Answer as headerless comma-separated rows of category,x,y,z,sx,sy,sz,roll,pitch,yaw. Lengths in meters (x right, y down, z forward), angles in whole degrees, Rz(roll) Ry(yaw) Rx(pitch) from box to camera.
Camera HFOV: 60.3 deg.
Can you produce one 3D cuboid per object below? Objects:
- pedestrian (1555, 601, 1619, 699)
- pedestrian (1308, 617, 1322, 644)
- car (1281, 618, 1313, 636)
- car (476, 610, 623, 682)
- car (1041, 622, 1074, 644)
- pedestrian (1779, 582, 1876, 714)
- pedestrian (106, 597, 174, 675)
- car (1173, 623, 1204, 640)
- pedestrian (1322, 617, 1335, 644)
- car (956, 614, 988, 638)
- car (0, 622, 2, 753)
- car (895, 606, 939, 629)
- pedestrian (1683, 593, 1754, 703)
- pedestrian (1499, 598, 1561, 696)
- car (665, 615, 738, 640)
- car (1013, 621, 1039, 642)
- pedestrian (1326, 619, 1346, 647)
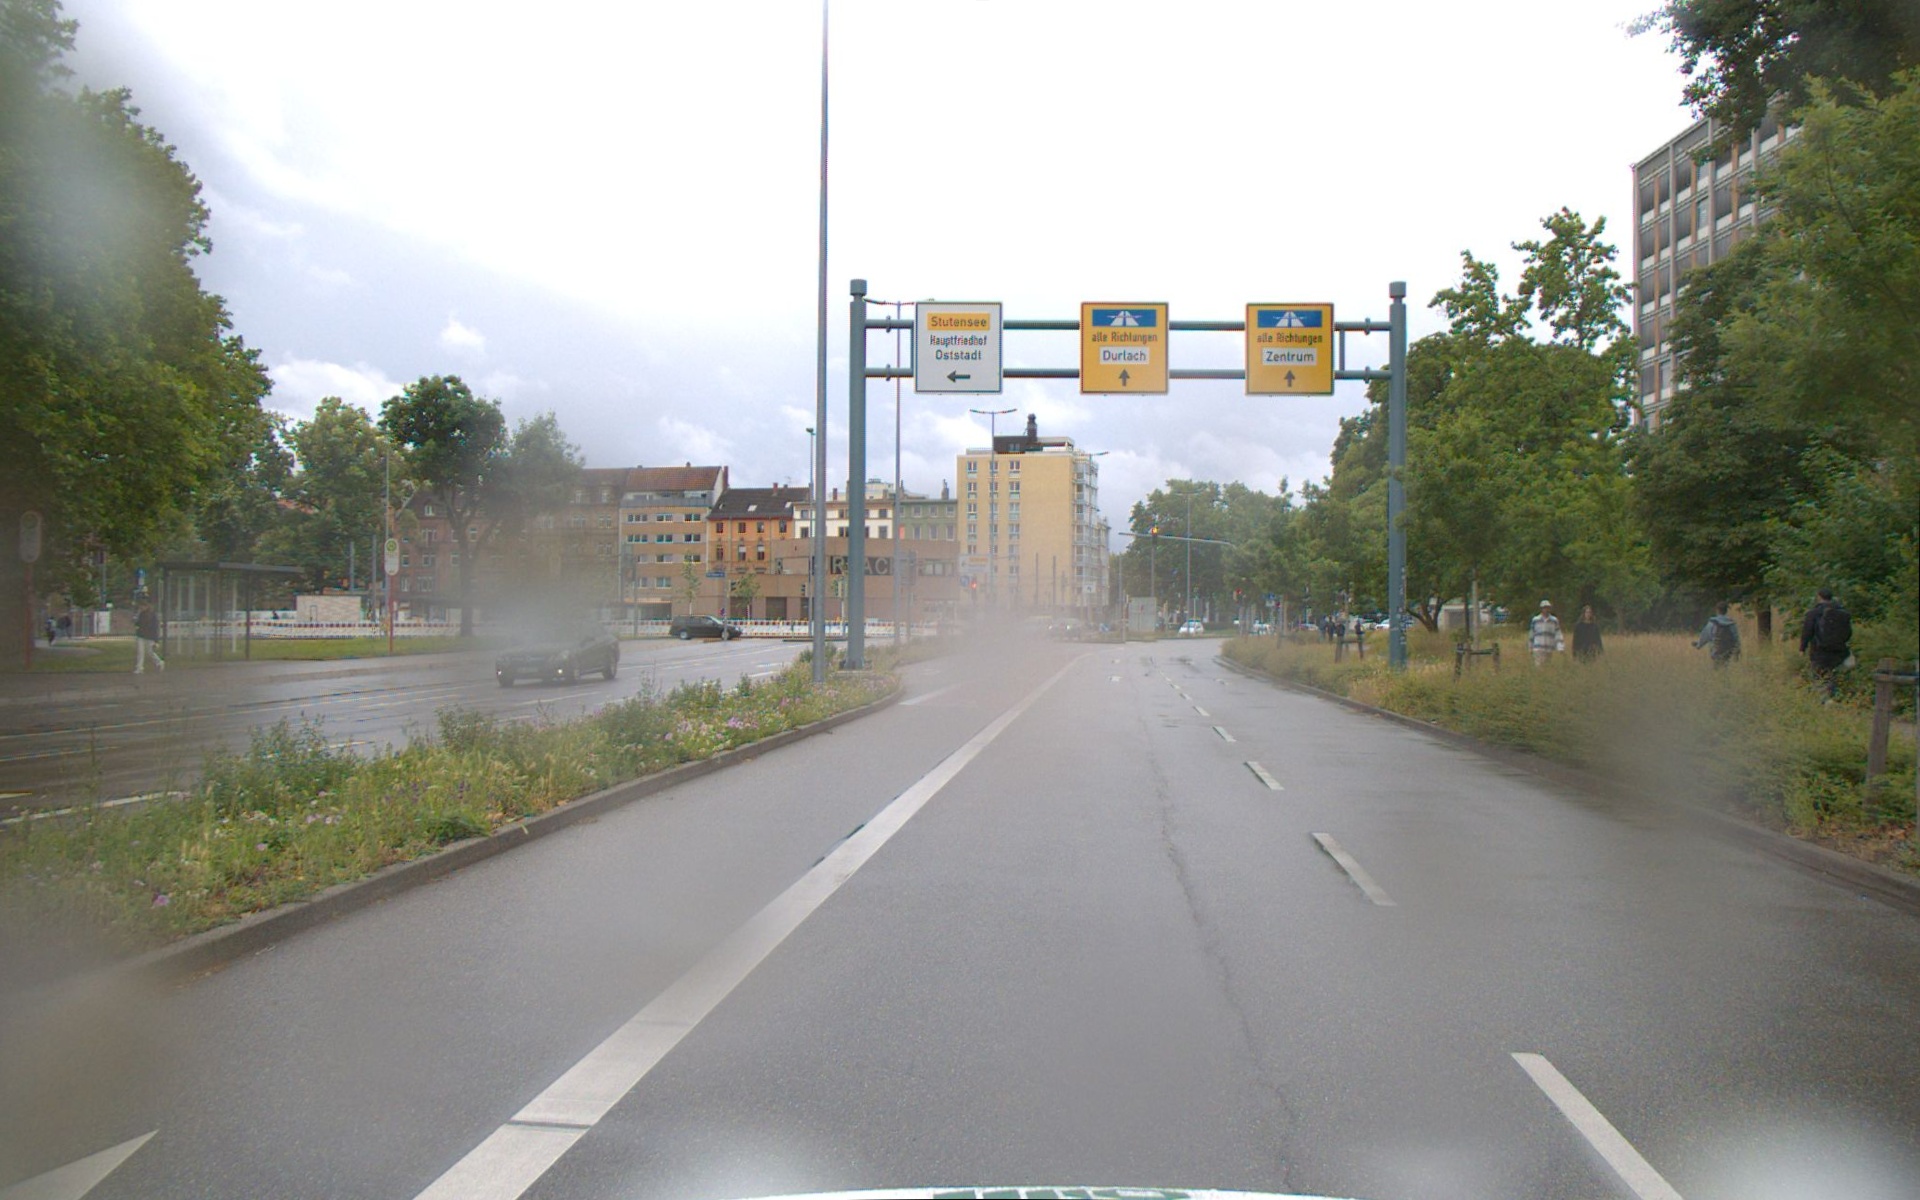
pedestrian,11.600,0.919,30.633,0.913,1.733,0.829,1,2,8
pedestrian,21.441,1.842,99.770,0.738,1.616,0.937,0,-1,17
car,31.169,2.482,152.873,1.756,1.672,4.152,0,-1,29
car,-9.613,1.040,39.099,1.770,1.567,4.706,-1,-1,7
car,7.694,2.563,130.217,1.951,1.664,4.606,-2,-1,10
pedestrian,11.978,0.646,22.866,0.913,1.778,1.046,0,-1,10
pedestrian,-18.588,0.811,37.511,0.851,1.725,1.399,0,-1,-2
car,21.385,2.903,154.912,1.647,1.528,3.863,-1,-1,27
pedestrian,22.112,1.838,99.275,0.688,1.616,0.937,0,-1,17
car,0.915,1.944,123.585,1.669,1.736,3.823,0,-1,11
car,-11.474,0.955,16.185,1.589,1.440,4.068,-1,-1,5
car,-5.524,2.238,213.607,5.236,2.938,2.341,0,-1,10
pedestrian,12.810,0.793,27.945,0.913,1.828,0.829,0,-1,10
pedestrian,10.680,0.869,31.039,0.913,1.751,0.829,1,2,8
car,-15.380,1.616,98.524,4.105,1.427,1.618,0,-1,1
car,4.807,2.285,120.717,1.643,1.429,4.160,-1,-1,6
pedestrian,21.744,1.905,95.641,1.001,1.616,0.937,0,-1,18
